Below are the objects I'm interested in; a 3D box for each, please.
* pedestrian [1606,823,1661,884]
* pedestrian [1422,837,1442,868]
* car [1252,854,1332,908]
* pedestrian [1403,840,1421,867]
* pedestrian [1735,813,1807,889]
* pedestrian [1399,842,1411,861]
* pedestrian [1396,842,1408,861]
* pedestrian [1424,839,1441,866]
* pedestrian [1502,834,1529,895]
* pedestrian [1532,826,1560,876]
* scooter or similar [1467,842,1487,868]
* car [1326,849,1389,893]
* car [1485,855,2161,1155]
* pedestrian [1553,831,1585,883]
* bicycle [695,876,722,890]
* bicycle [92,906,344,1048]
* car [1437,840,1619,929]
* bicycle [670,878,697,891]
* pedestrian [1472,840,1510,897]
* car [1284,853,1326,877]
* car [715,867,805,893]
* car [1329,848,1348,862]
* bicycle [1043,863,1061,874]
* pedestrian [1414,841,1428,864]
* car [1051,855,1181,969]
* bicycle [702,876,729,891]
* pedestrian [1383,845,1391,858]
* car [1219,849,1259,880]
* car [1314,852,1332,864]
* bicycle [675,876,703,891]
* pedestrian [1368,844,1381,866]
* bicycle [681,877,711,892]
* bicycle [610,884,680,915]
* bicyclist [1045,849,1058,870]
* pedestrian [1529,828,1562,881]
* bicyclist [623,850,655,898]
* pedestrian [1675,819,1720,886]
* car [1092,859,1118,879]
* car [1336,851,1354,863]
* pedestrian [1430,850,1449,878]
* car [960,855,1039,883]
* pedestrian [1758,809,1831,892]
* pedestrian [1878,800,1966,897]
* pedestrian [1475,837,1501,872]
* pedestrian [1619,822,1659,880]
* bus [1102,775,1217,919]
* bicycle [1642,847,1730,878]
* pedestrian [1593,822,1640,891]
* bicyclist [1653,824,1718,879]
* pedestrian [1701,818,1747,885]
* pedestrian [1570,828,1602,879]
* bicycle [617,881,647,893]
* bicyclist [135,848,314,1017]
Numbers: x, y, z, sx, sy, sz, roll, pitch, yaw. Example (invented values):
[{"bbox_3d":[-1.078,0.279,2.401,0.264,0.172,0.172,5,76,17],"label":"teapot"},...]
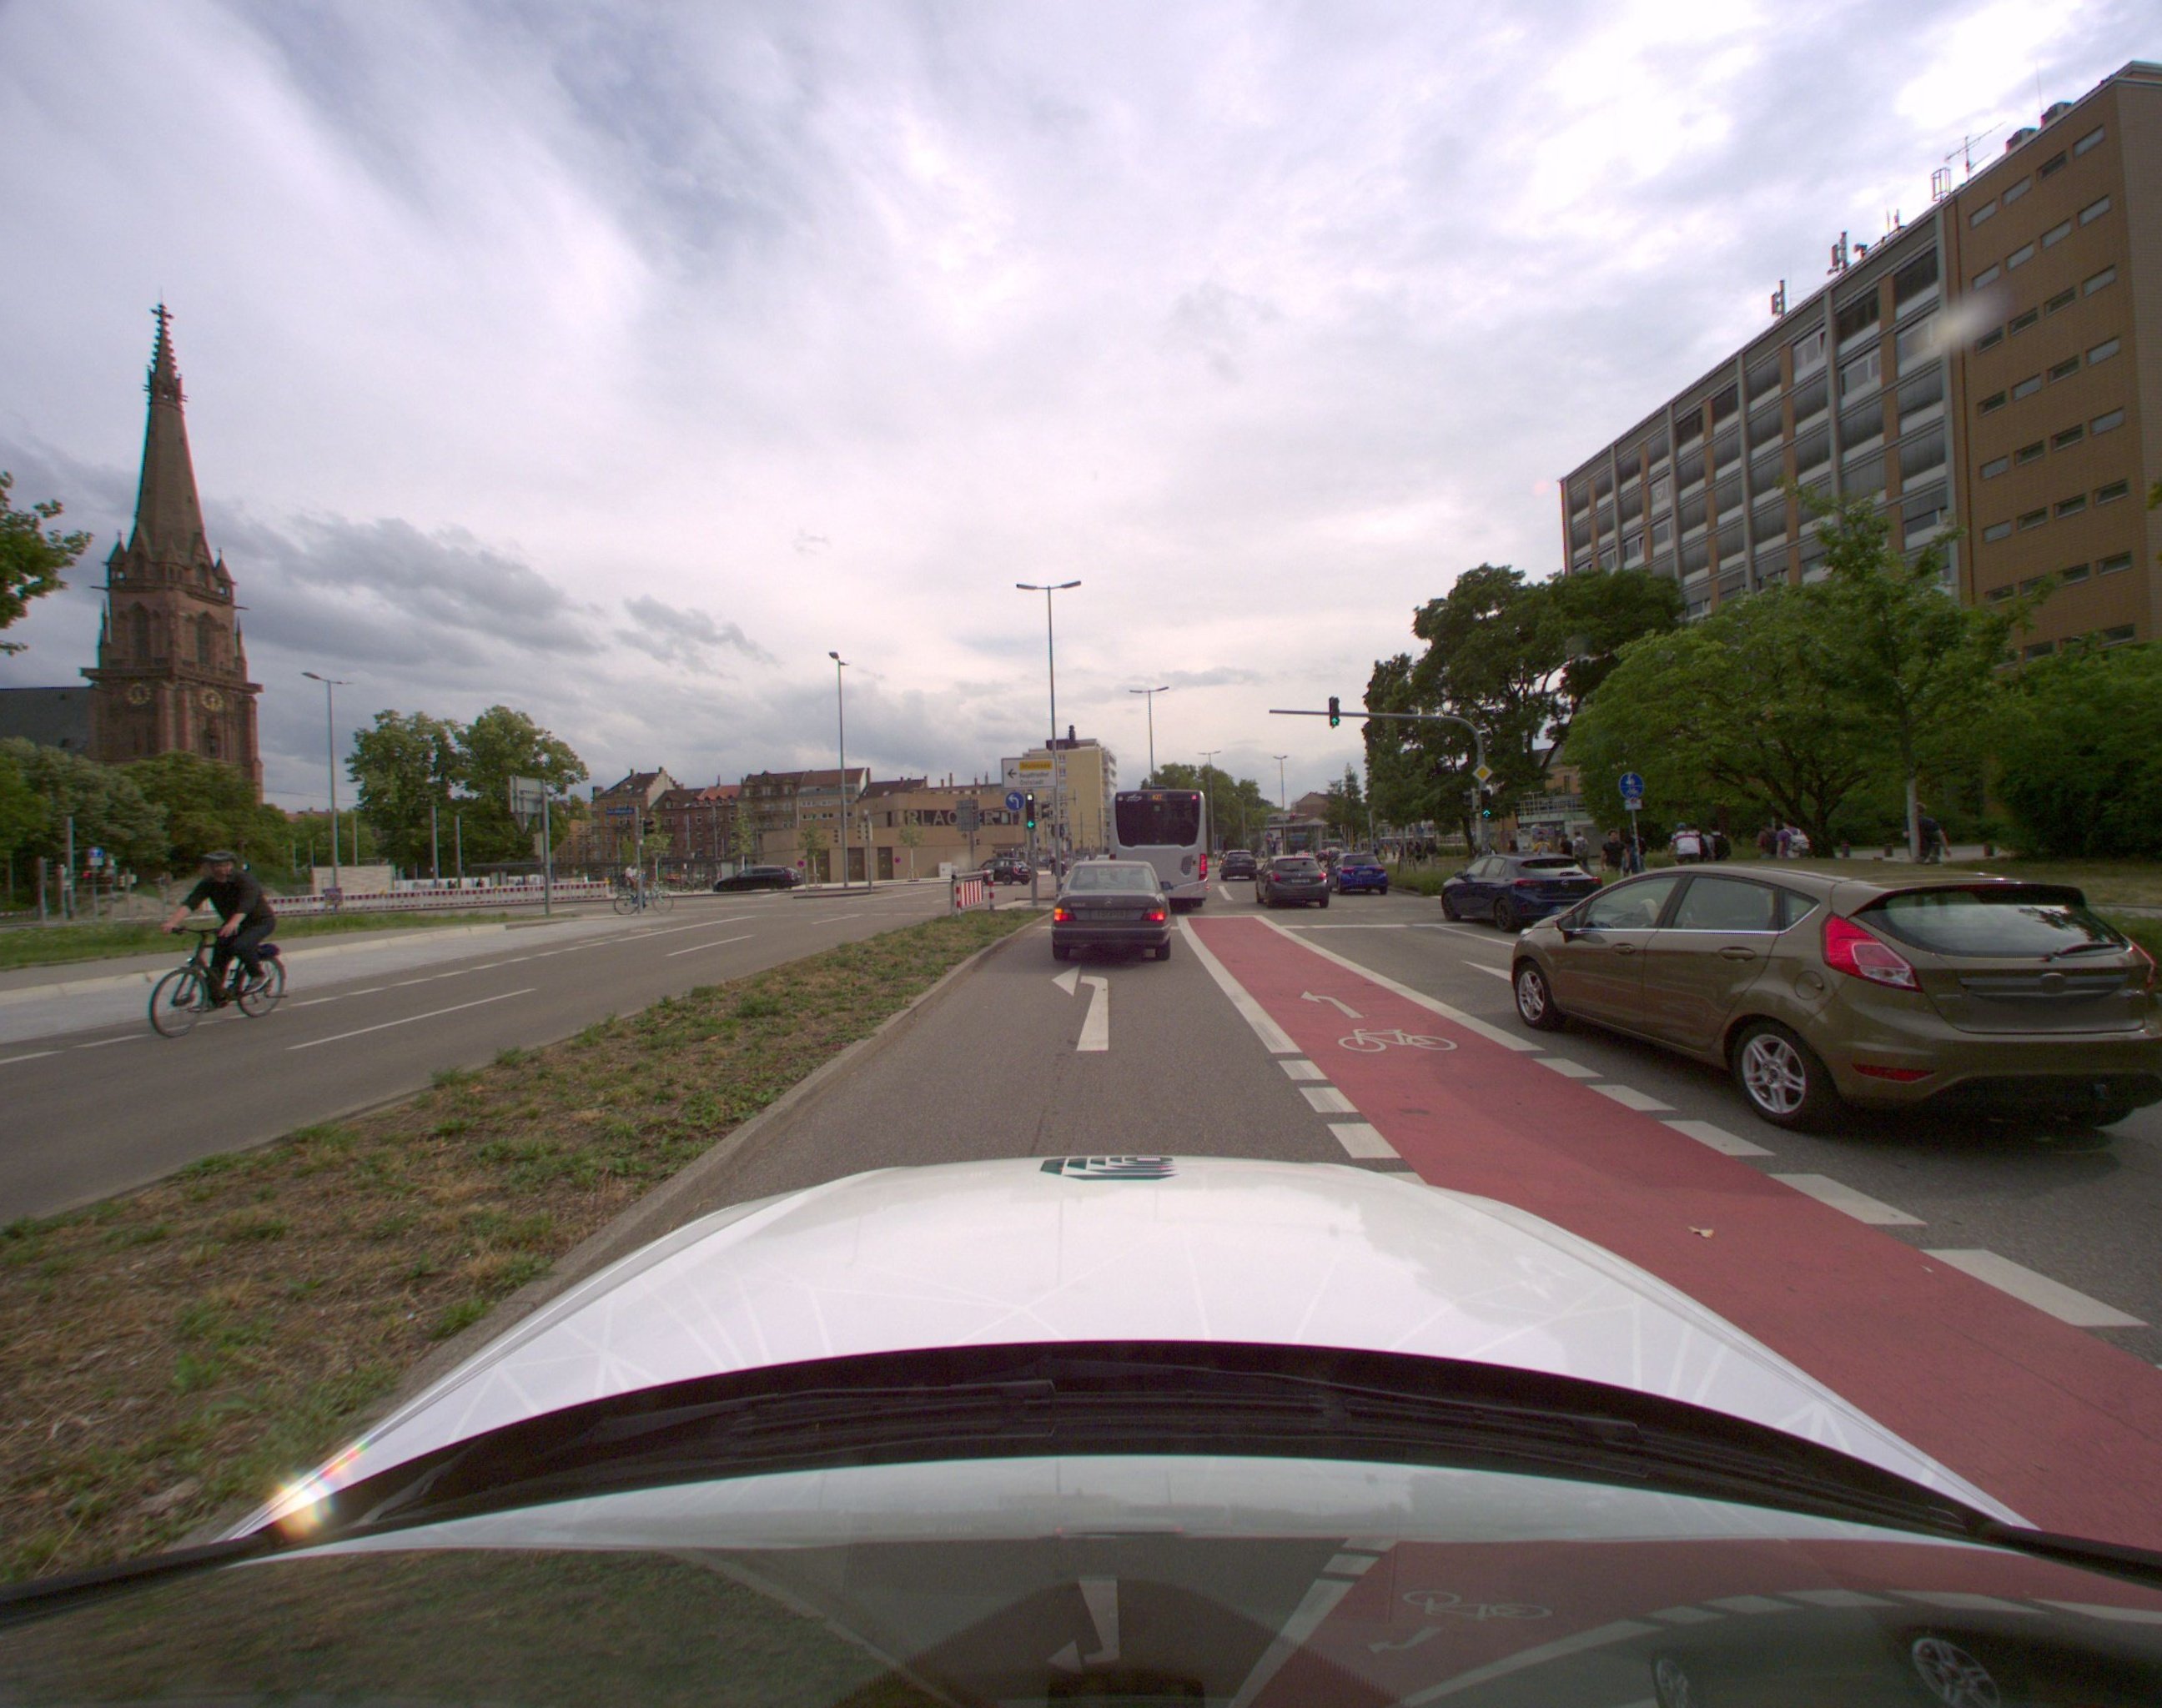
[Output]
[{"bbox_3d":[14.718,-0.010,21.707,0.833,1.543,0.801,-5,-1,5],"label":"pedestrian"},{"bbox_3d":[19.982,-0.088,46.362,0.774,1.711,1.029,0,-1,5],"label":"pedestrian"},{"bbox_3d":[6.085,0.739,23.852,1.702,1.420,4.007,0,-1,6],"label":"car"},{"bbox_3d":[20.838,-0.037,51.226,0.774,1.711,1.029,0,-1,5],"label":"pedestrian"},{"bbox_3d":[16.118,-0.065,19.045,0.833,1.711,1.014,0,-1,5],"label":"pedestrian"},{"bbox_3d":[27.187,-0.210,68.342,0.770,1.574,0.817,-4,-1,28],"label":"pedestrian"},{"bbox_3d":[27.603,-0.184,70.000,0.770,1.574,0.817,-4,-1,28],"label":"pedestrian"},{"bbox_3d":[21.971,-0.089,50.940,0.774,1.711,0.813,0,-1,5],"label":"pedestrian"},{"bbox_3d":[12.293,0.296,23.049,0.477,1.711,0.589,0,-1,7],"label":"pedestrian"},{"bbox_3d":[17.843,-0.105,31.265,0.635,1.852,0.709,-3,-1,5],"label":"pedestrian"},{"bbox_3d":[21.264,0.050,43.758,0.397,1.370,1.145,0,-1,-8],"label":"scooter or similar"},{"bbox_3d":[10.154,0.609,30.139,1.845,1.533,4.016,-1,-1,13],"label":"car"},{"bbox_3d":[4.538,0.726,5.692,1.689,1.405,3.701,0,-1,2],"label":"car"},{"bbox_3d":[16.187,0.095,27.009,0.635,1.711,0.709,0,-1,5],"label":"pedestrian"},{"bbox_3d":[-30.988,2.406,67.826,0.577,1.156,1.978,-1,-1,45],"label":"bicycle"},{"bbox_3d":[-9.448,1.275,9.076,0.756,1.189,2.091,-4,1,-10],"label":"bicycle"},{"bbox_3d":[8.484,0.540,15.834,1.659,1.508,3.636,0,-1,2],"label":"car"},{"bbox_3d":[-32.976,2.511,67.542,1.976,0.970,0.577,0,-1,-39],"label":"bicycle"},{"bbox_3d":[12.512,0.449,24.864,0.793,1.711,0.841,0,-1,7],"label":"pedestrian"},{"bbox_3d":[13.883,0.693,50.369,2.114,1.420,3.720,-1,-1,22],"label":"car"},{"bbox_3d":[-17.908,1.452,45.572,4.247,1.361,2.000,0,-1,-1],"label":"car"},{"bbox_3d":[28.170,0.122,88.928,1.689,1.420,3.720,-1,-1,22],"label":"car"},{"bbox_3d":[-2.333,1.177,65.302,0.856,0.876,2.526,-1,-1,11],"label":"bicycle"},{"bbox_3d":[23.881,-0.119,57.163,0.770,1.574,0.817,-4,-1,28],"label":"pedestrian"},{"bbox_3d":[0.525,0.776,12.855,1.689,1.480,4.417,0,0,2],"label":"car"},{"bbox_3d":[-29.986,2.390,66.793,0.577,1.156,1.978,-1,-1,45],"label":"bicycle"},{"bbox_3d":[37.868,-0.333,100.813,0.770,1.574,0.817,-4,-1,28],"label":"pedestrian"},{"bbox_3d":[8.657,0.589,44.855,1.826,1.615,3.550,0,-1,5],"label":"car"},{"bbox_3d":[29.225,0.443,98.237,1.696,1.420,4.021,-1,-1,22],"label":"car"},{"bbox_3d":[-31.619,2.393,65.683,0.577,1.156,1.978,-1,-1,45],"label":"bicycle"},{"bbox_3d":[22.555,0.076,62.546,0.770,1.574,0.817,-4,-1,28],"label":"pedestrian"},{"bbox_3d":[-29.989,2.364,63.460,0.577,1.156,1.978,-1,-1,45],"label":"bicycle"},{"bbox_3d":[-14.418,1.499,26.982,1.983,0.936,0.500,0,-3,-45],"label":"bicycle"},{"bbox_3d":[-2.353,0.474,65.119,0.861,1.669,0.883,-1,-1,11],"label":"bicyclist"},{"bbox_3d":[15.445,0.005,27.075,0.635,1.711,0.709,-3,-1,5],"label":"pedestrian"},{"bbox_3d":[-14.601,0.673,26.892,0.802,1.555,0.573,1,-3,-45],"label":"bicyclist"},{"bbox_3d":[16.020,-0.047,21.183,0.635,1.711,0.709,0,-1,5],"label":"pedestrian"},{"bbox_3d":[2.067,1.249,68.434,1.984,1.651,4.295,0,-1,4],"label":"car"},{"bbox_3d":[31.039,0.348,95.644,1.689,1.420,3.720,-1,-1,22],"label":"car"},{"bbox_3d":[21.682,0.594,49.247,0.774,1.711,0.813,0,-1,5],"label":"pedestrian"},{"bbox_3d":[-4.446,0.795,44.430,3.948,1.486,2.013,-1,-1,37],"label":"car"},{"bbox_3d":[15.114,-0.072,17.276,0.833,1.711,0.801,0,-1,5],"label":"pedestrian"},{"bbox_3d":[16.136,-0.092,15.642,0.833,1.808,0.801,0,-1,5],"label":"pedestrian"},{"bbox_3d":[19.081,0.045,38.182,0.774,1.574,0.813,-4,-1,5],"label":"pedestrian"},{"bbox_3d":[17.329,-0.091,25.301,0.635,1.711,0.709,-4,-1,5],"label":"pedestrian"},{"bbox_3d":[2.880,-0.147,27.476,2.690,3.438,14.213,-3,-1,7],"label":"bus"},{"bbox_3d":[14.383,0.199,19.420,0.837,0.694,1.847,0,-1,5],"label":"bicycle"},{"bbox_3d":[13.536,0.076,20.610,0.729,1.711,0.694,0,-1,5],"label":"pedestrian"},{"bbox_3d":[14.379,-0.049,19.408,0.833,1.277,1.014,0,-1,5],"label":"bicyclist"},{"bbox_3d":[16.721,-0.052,21.201,0.635,1.711,0.709,0,-1,5],"label":"pedestrian"},{"bbox_3d":[17.400,-0.001,28.068,0.635,1.711,0.709,-2,-1,5],"label":"pedestrian"},{"bbox_3d":[-35.403,2.598,64.200,1.976,0.955,0.577,0,-1,-39],"label":"bicycle"},{"bbox_3d":[-9.480,0.818,9.075,0.776,1.711,1.082,-4,1,-10],"label":"bicyclist"}]
